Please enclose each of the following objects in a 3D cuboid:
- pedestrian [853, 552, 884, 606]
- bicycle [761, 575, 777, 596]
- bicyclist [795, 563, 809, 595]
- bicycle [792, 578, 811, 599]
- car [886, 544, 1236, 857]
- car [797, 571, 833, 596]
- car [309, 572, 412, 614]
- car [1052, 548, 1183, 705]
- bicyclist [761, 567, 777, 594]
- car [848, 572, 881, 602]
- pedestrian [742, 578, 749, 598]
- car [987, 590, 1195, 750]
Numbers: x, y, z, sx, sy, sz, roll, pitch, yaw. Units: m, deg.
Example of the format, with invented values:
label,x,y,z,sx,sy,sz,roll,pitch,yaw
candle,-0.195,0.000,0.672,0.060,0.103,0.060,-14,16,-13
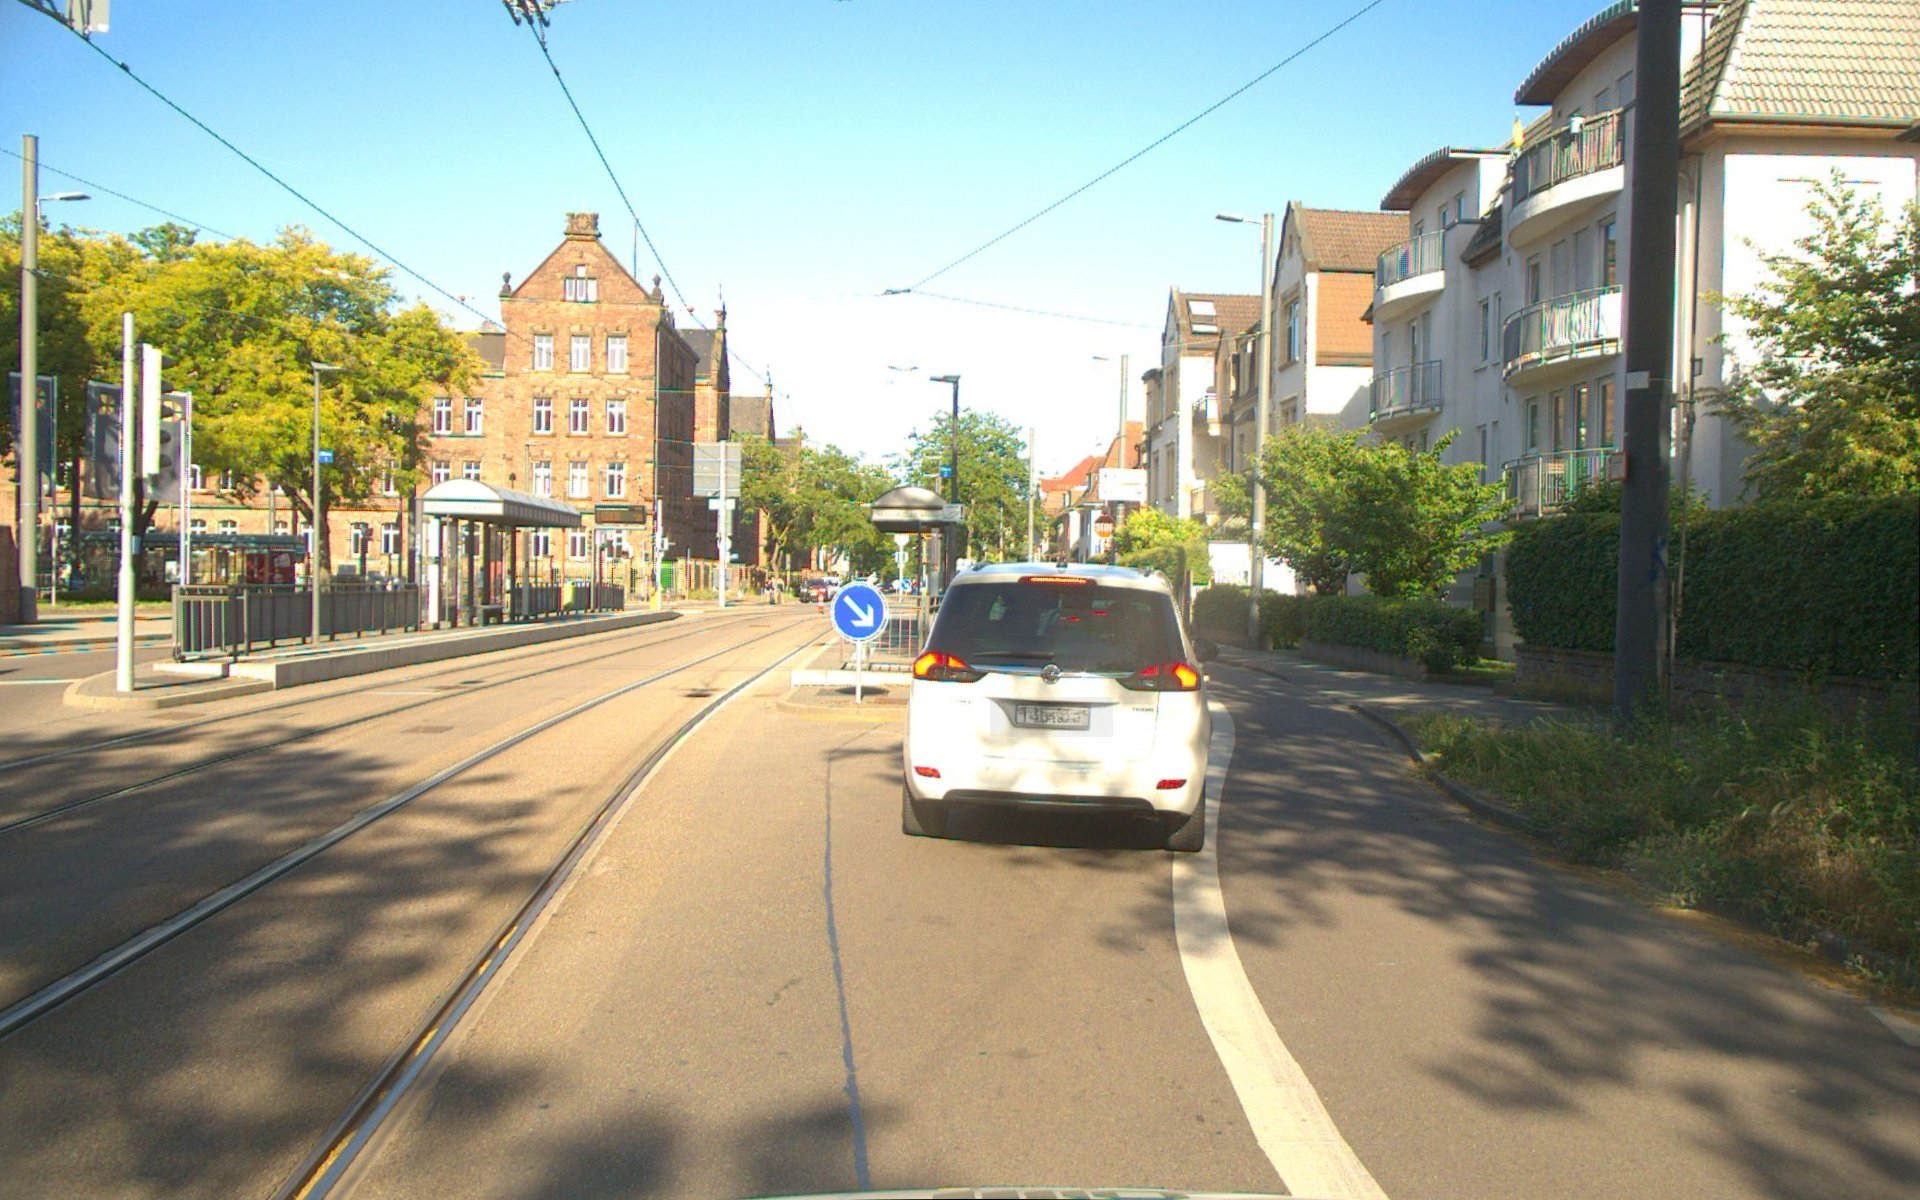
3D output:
label,x,y,z,sx,sy,sz,roll,pitch,yaw
pedestrian,-3.556,-0.818,64.301,1.133,2.048,1.119,-2,2,-5
bicycle,-12.256,-0.912,106.033,0.805,1.319,2.676,1,1,-3
bicyclist,-10.400,-1.392,108.886,0.932,2.049,0.823,1,0,-5
bicycle,-10.437,-0.762,108.894,1.125,1.319,2.859,1,1,-3
car,0.770,0.572,10.923,1.852,1.639,4.231,1,-1,7
car,-10.228,-1.168,117.131,1.952,1.752,4.002,1,1,3
car,-26.737,-0.321,73.904,3.910,1.821,1.998,1,0,-6
car,2.333,0.320,23.708,1.672,2.049,3.910,0,1,8
bicyclist,-12.249,-1.247,106.320,0.924,1.764,0.861,1,0,-2
car,-6.351,-0.856,110.600,1.953,1.947,4.000,1,0,0
pedestrian,-15.884,-0.875,122.462,0.354,1.463,0.549,1,0,1
car,1.511,0.641,17.578,1.951,1.467,4.003,0,1,8
